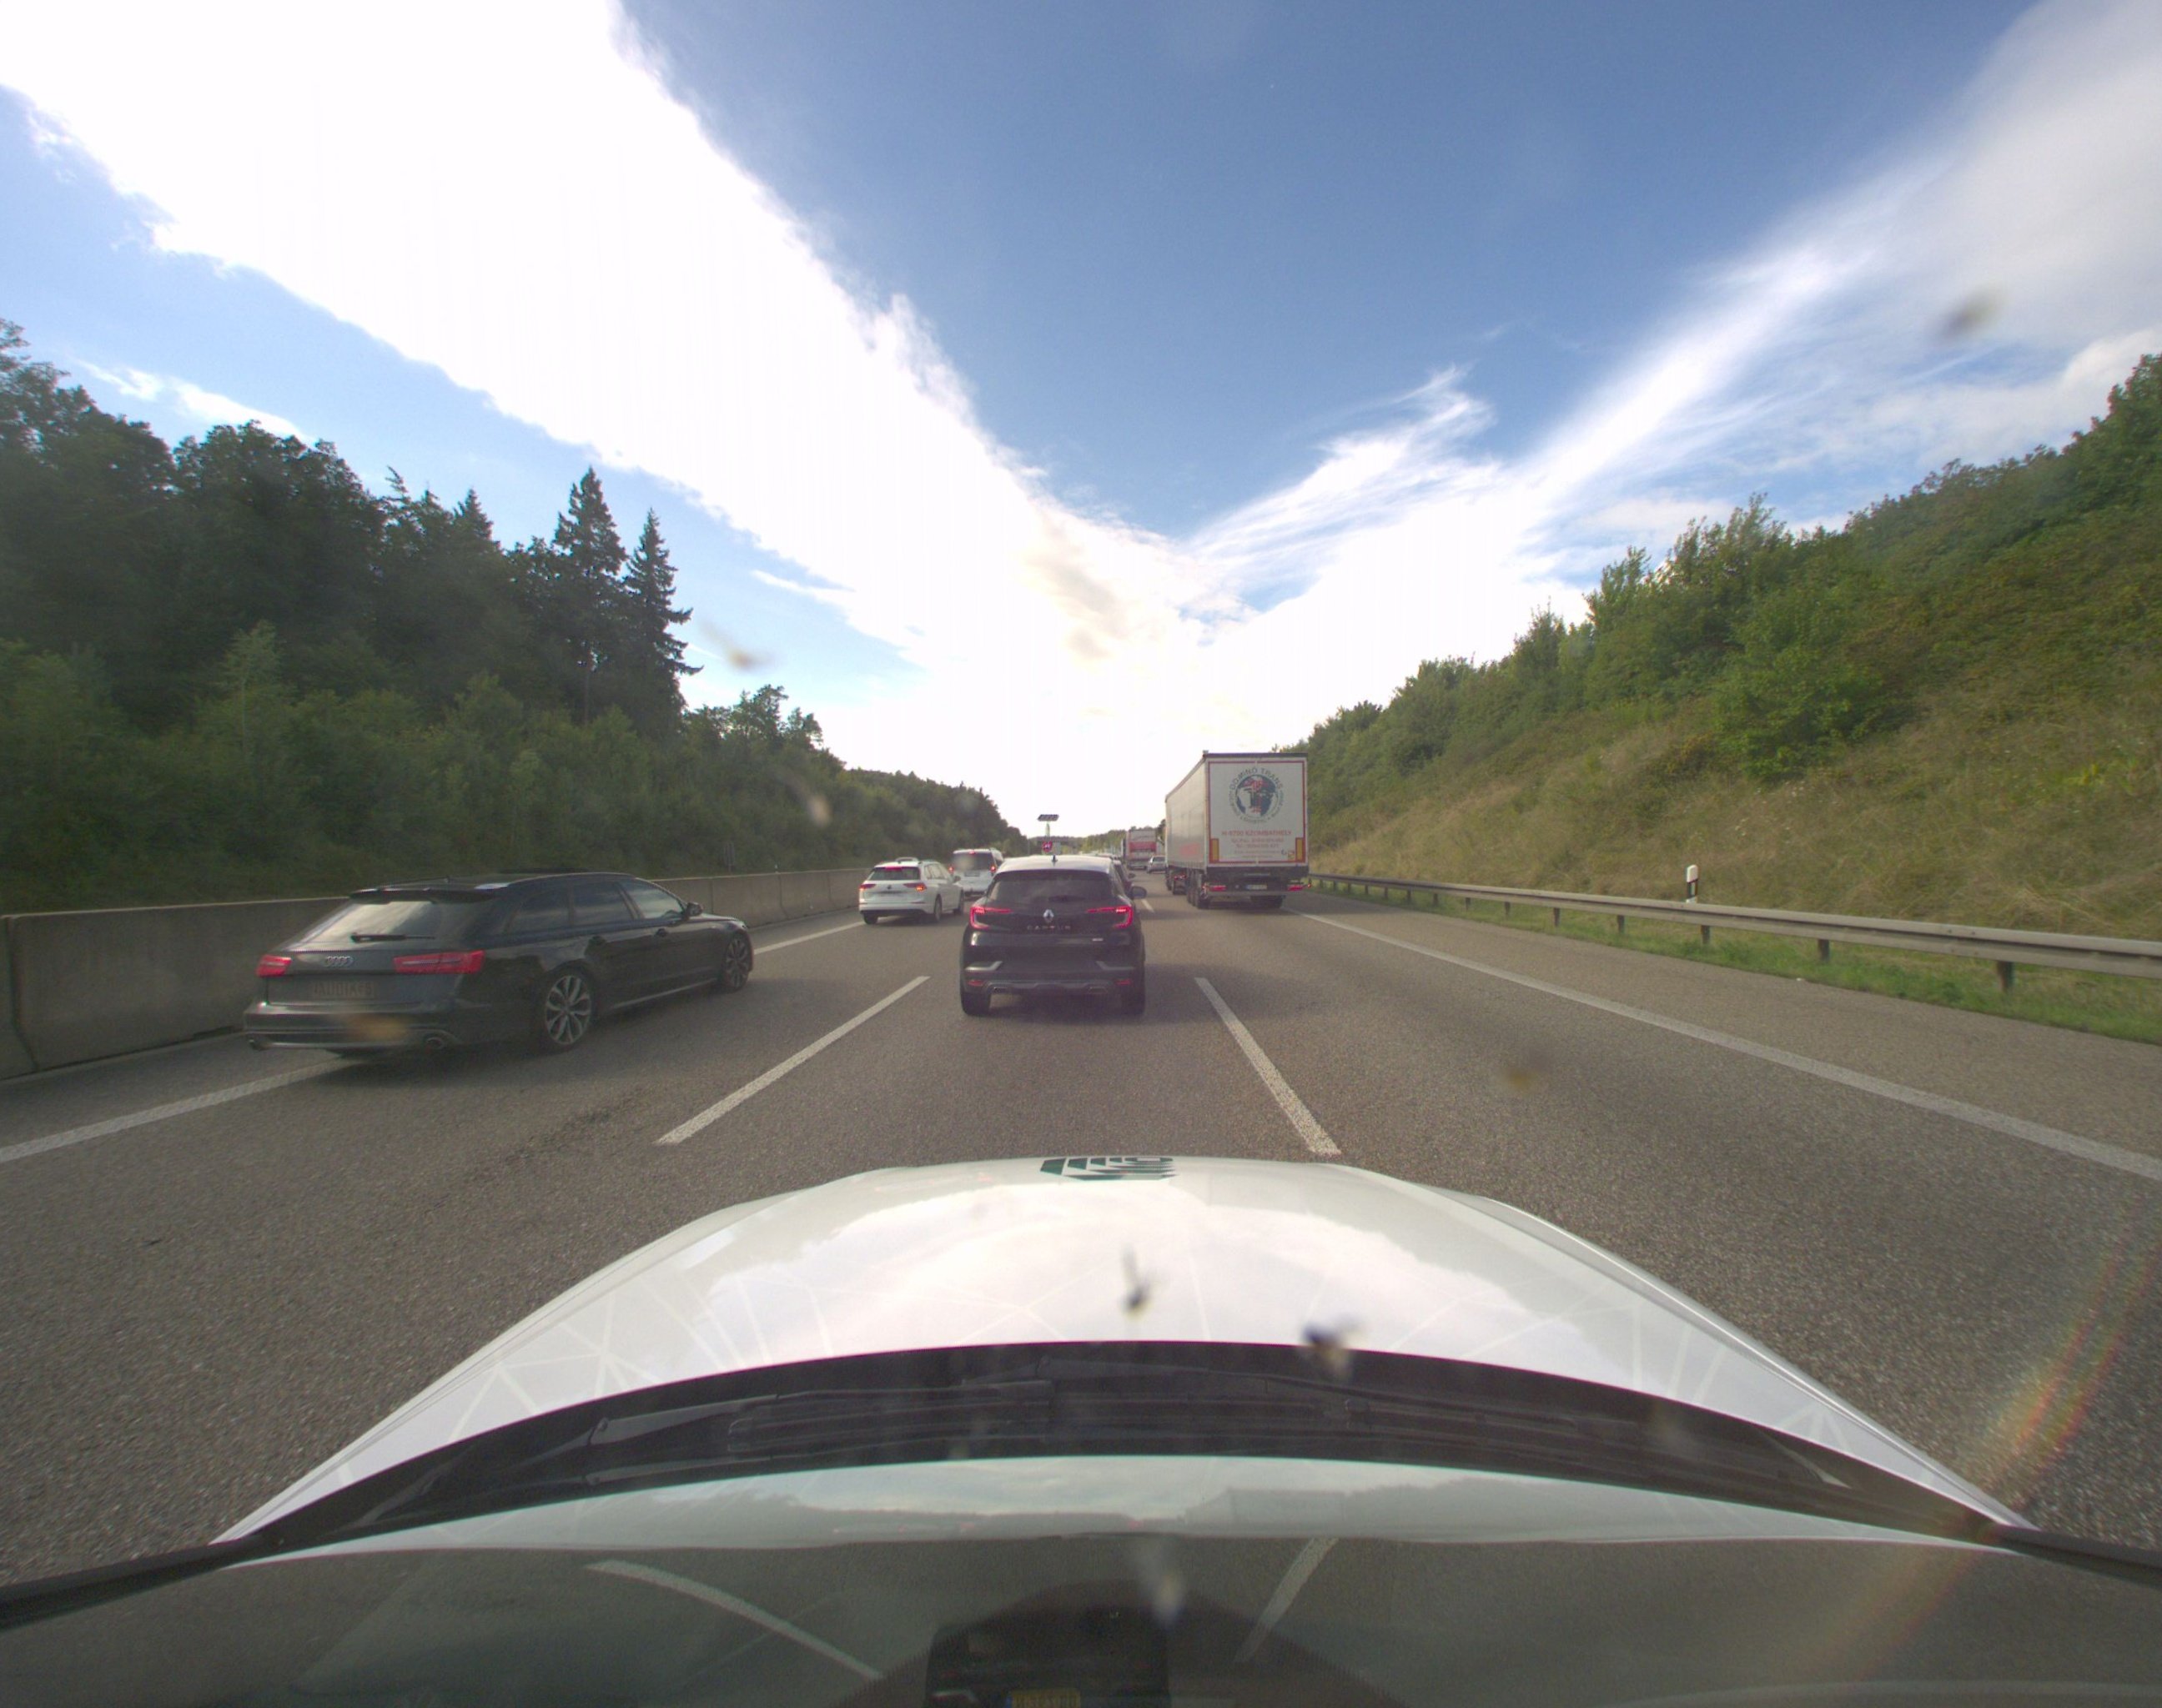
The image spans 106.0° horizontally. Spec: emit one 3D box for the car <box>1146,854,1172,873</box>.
[{"bbox_3d":[6.320,0.768,65.974,1.798,1.533,3.926,0,-1,1],"label":"car"}]

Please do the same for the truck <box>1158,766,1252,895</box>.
[{"bbox_3d":[4.811,-0.866,32.657,2.986,4.667,5.942,-1,0,2],"label":"truck"}]

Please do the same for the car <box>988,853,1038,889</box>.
[{"bbox_3d":[-3.204,0.802,38.998,1.848,1.641,3.929,0,-1,3],"label":"car"}]

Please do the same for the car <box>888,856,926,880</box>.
[{"bbox_3d":[-13.609,1.037,63.944,1.845,1.810,4.626,0,0,2],"label":"car"}]

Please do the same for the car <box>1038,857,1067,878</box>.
[{"bbox_3d":[-2.198,1.059,64.455,1.985,1.613,4.003,0,-1,3],"label":"car"}]

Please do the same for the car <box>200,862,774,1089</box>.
[{"bbox_3d":[-4.858,0.831,7.787,1.835,1.456,4.751,0,0,3],"label":"car"}]

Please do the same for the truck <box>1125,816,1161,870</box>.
[{"bbox_3d":[6.221,-1.005,83.335,3.351,5.044,12.746,0,-1,3],"label":"truck"}]

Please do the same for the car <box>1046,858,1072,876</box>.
[{"bbox_3d":[-1.901,1.137,72.484,1.985,1.613,4.003,0,-1,3],"label":"car"}]

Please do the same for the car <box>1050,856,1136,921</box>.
[{"bbox_3d":[0.371,0.822,20.947,1.985,1.514,4.003,0,-1,3],"label":"car"}]

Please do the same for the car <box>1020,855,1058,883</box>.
[{"bbox_3d":[-2.637,0.937,51.964,1.985,1.722,4.003,0,-1,3],"label":"car"}]

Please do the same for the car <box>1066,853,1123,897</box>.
[{"bbox_3d":[0.570,0.763,30.801,1.985,1.514,4.003,0,-1,3],"label":"car"}]

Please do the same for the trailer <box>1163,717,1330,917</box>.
[{"bbox_3d":[4.568,-0.866,25.807,2.990,4.661,13.296,-1,0,2],"label":"trailer"}]

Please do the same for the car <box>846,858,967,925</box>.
[{"bbox_3d":[-4.127,0.842,19.986,1.797,1.461,4.312,-1,-1,3],"label":"car"}]

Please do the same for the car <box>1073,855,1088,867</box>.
[{"bbox_3d":[-0.059,0.947,115.350,1.985,1.613,4.003,-1,0,3],"label":"car"}]

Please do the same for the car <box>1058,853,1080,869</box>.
[{"bbox_3d":[-1.238,0.734,86.291,1.985,1.613,4.003,-1,0,3],"label":"car"}]

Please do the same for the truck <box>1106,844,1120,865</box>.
[{"bbox_3d":[8.175,0.141,207.322,3.153,5.159,12.746,0,-1,3],"label":"truck"}]

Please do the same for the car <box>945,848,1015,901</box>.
[{"bbox_3d":[-3.610,0.704,29.913,1.905,1.789,4.418,0,-1,1],"label":"car"}]

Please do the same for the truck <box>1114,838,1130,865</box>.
[{"bbox_3d":[8.851,-0.411,174.592,3.152,5.505,12.752,0,-1,4],"label":"truck"}]

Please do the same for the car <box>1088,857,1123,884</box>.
[{"bbox_3d":[1.465,0.929,48.030,1.985,1.514,4.003,0,-1,3],"label":"car"}]

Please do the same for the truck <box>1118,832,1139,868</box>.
[{"bbox_3d":[7.747,-0.599,132.528,3.153,5.505,12.746,0,-1,3],"label":"truck"}]

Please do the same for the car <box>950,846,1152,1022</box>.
[{"bbox_3d":[-0.115,0.727,9.288,1.796,1.552,4.005,-1,0,5],"label":"car"}]
